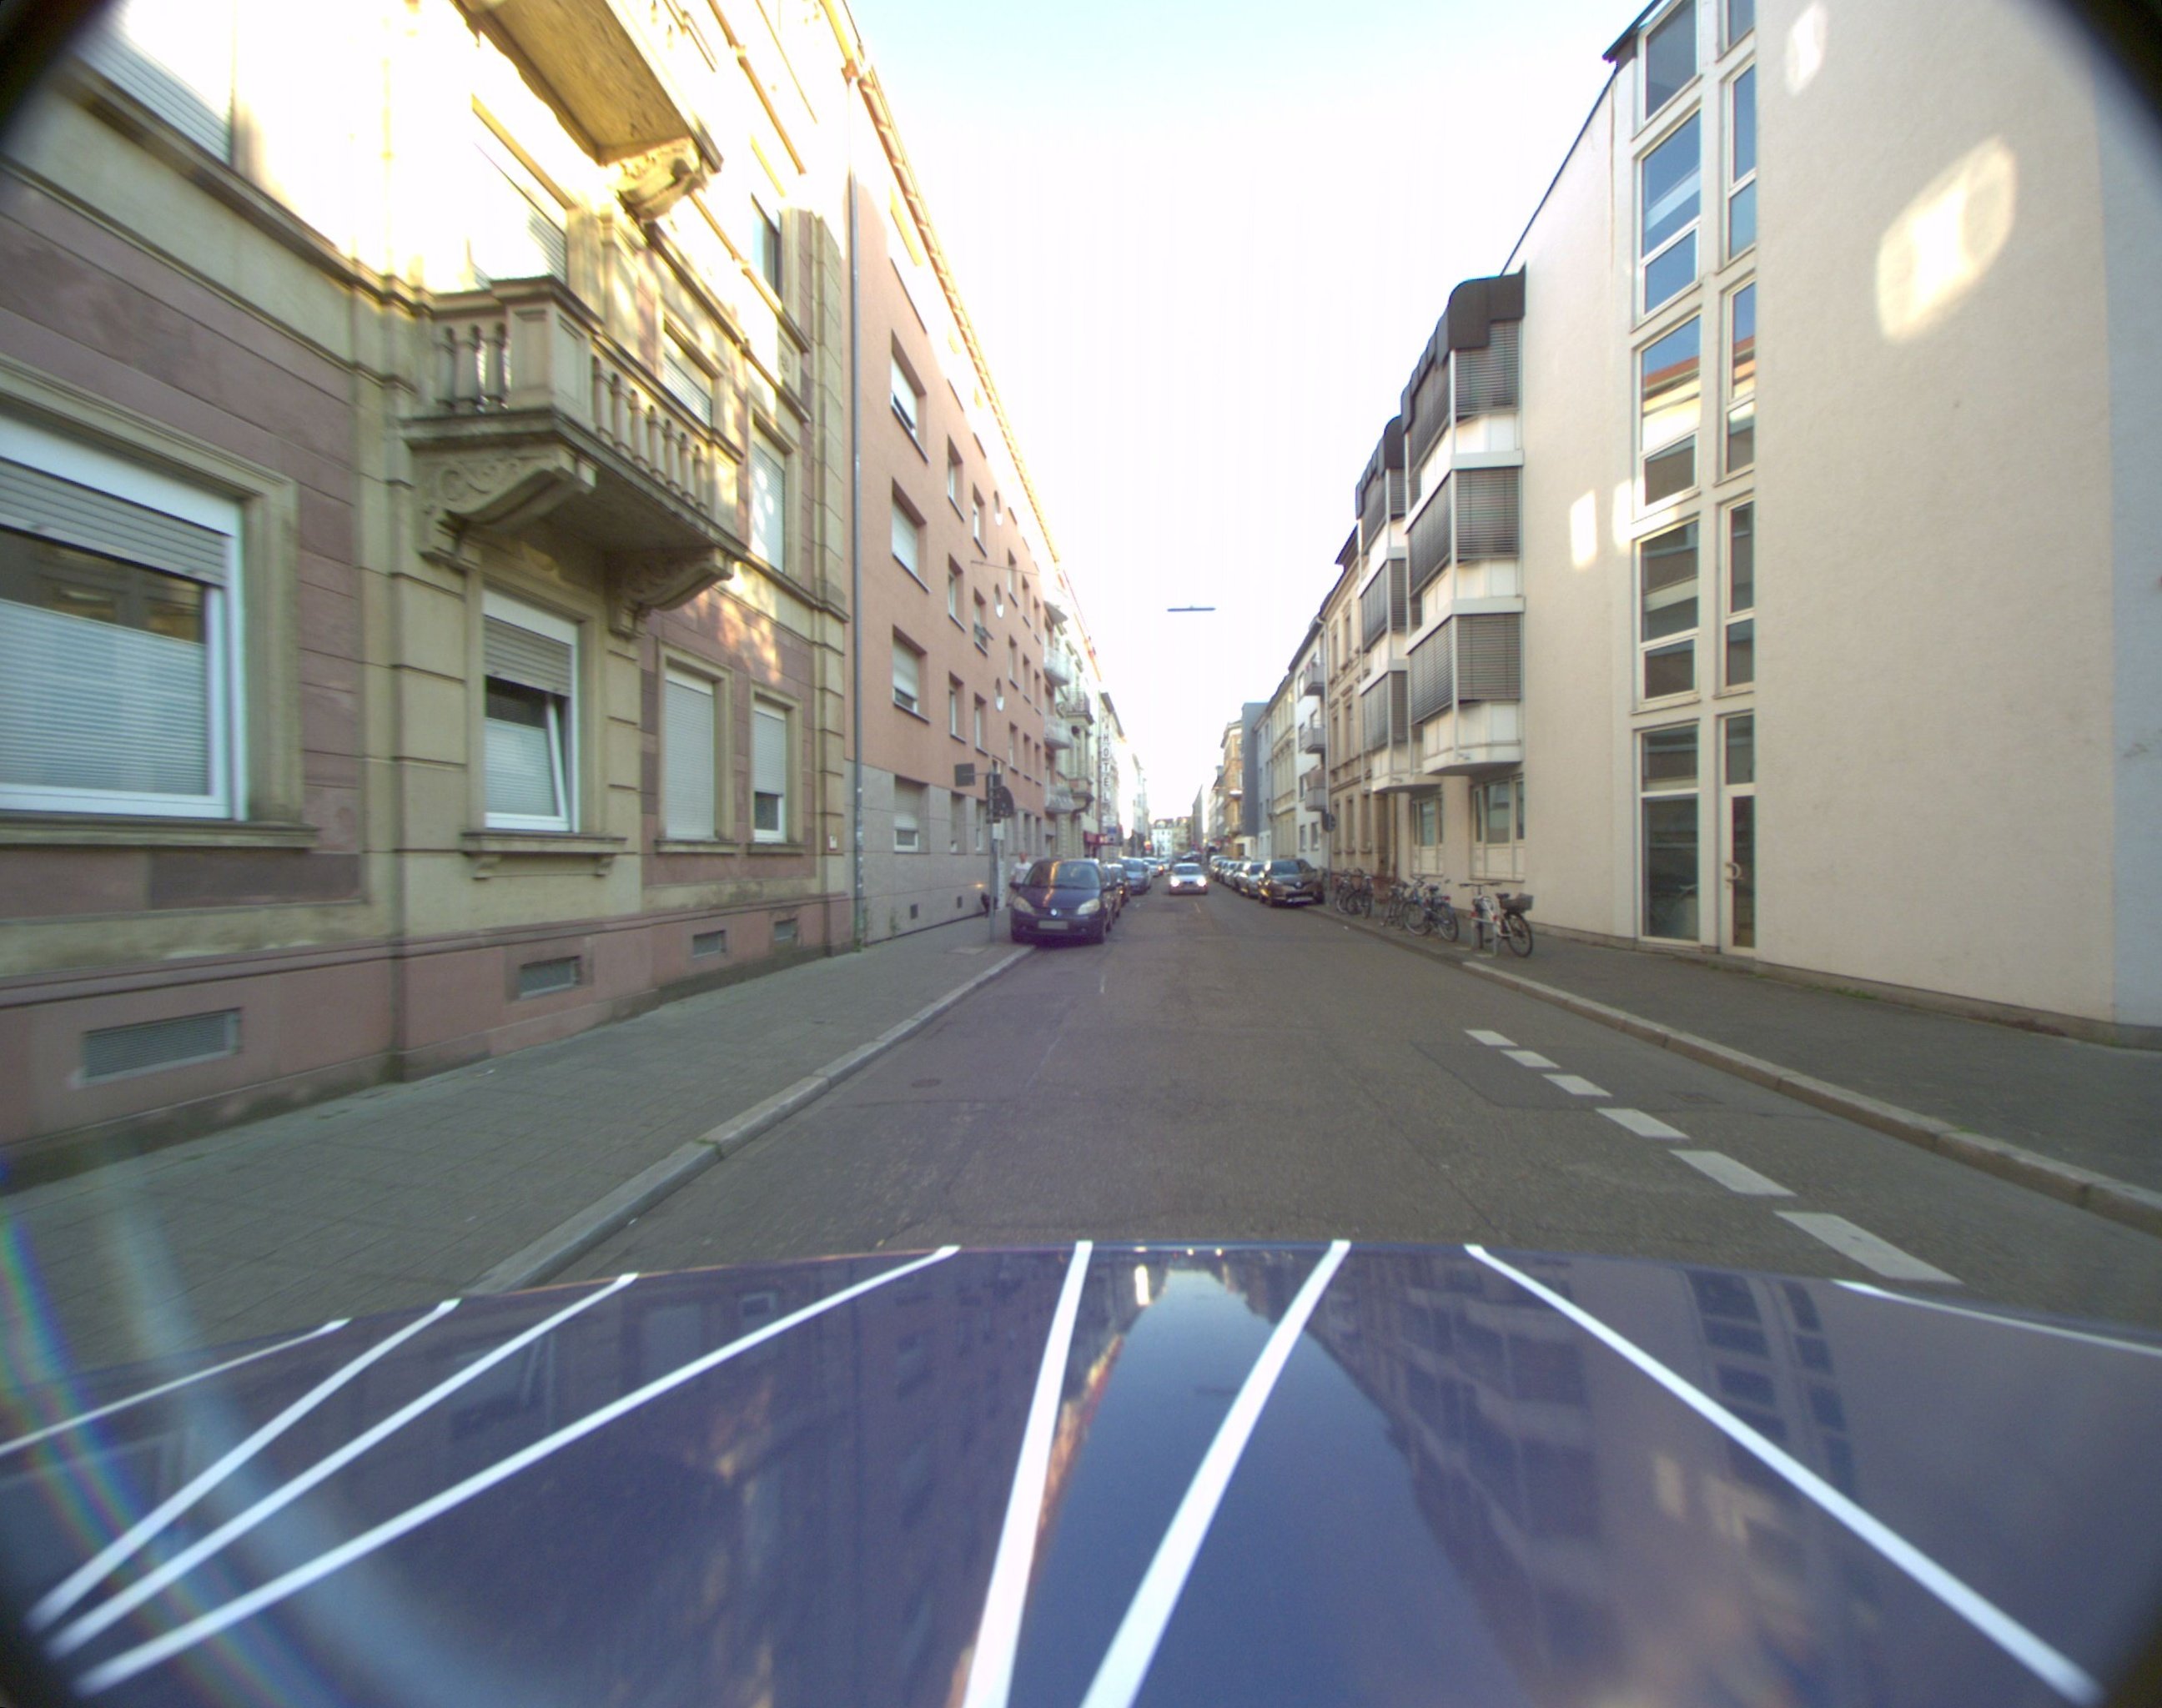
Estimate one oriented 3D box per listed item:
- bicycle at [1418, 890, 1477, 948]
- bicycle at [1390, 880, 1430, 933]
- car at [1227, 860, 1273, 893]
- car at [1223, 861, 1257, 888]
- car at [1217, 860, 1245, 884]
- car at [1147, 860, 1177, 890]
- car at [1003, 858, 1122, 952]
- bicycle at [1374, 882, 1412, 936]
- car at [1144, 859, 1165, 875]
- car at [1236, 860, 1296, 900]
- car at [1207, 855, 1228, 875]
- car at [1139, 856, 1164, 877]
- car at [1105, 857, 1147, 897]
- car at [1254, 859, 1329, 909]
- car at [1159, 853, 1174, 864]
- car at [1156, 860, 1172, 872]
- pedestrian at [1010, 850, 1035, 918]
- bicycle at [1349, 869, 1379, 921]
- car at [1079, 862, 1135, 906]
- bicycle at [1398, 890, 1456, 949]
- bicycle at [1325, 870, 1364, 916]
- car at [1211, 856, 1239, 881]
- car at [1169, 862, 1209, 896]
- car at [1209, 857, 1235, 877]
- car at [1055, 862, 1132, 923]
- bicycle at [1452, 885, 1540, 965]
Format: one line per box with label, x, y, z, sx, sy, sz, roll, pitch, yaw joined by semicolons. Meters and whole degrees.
bicycle;6.671;1.153;13.904;0.307;0.926;1.814;-1;-1;4
bicycle;7.054;1.102;16.347;0.307;1.036;1.814;-1;0;8
car;8.346;1.088;37.876;1.794;1.530;4.497;-1;0;7
car;9.167;1.141;44.053;1.641;1.480;3.791;-1;0;7
car;9.680;1.141;49.200;1.641;1.480;3.957;-1;0;9
car;4.546;1.113;42.363;1.573;1.569;3.592;-1;0;7
car;-0.224;0.902;15.244;1.692;1.615;4.057;-1;0;8
bicycle;6.696;1.146;16.354;0.307;1.036;1.814;-1;0;8
car;7.054;1.231;72.437;1.728;1.469;3.979;-1;0;8
car;7.710;1.051;32.031;1.794;1.530;4.436;-1;0;5
car;12.173;0.963;67.702;1.641;1.786;3.786;-1;0;7
car;6.312;1.079;67.470;1.840;1.685;4.361;4;0;8
car;2.153;1.019;35.374;1.693;1.731;4.112;-1;0;7
car;7.149;0.981;26.199;1.794;1.567;4.072;-1;0;5
car;11.278;0.628;99.881;1.728;1.390;3.895;-1;0;8
car;9.811;1.406;89.441;1.728;1.390;3.895;-1;0;8
pedestrian;-1.514;0.774;19.775;0.550;1.733;0.569;0;0;6
bicycle;7.092;1.012;19.109;0.307;1.215;1.814;-1;0;8
car;1.034;1.050;28.051;1.693;1.449;4.134;-1;0;7
bicycle;6.323;1.164;13.968;0.307;0.926;1.813;-1;0;3
bicycle;7.351;1.053;21.269;0.596;1.180;2.267;-1;0;8
car;10.438;1.017;55.231;1.641;1.701;3.785;-1;0;5
car;5.029;1.138;35.650;1.680;1.395;4.474;-2;-1;7
car;11.401;1.007;61.638;1.641;1.571;3.785;-1;0;5
car;0.458;1.001;21.453;1.693;1.505;4.285;-1;0;7
bicycle;6.422;1.062;11.851;0.401;1.096;1.813;-1;0;1
